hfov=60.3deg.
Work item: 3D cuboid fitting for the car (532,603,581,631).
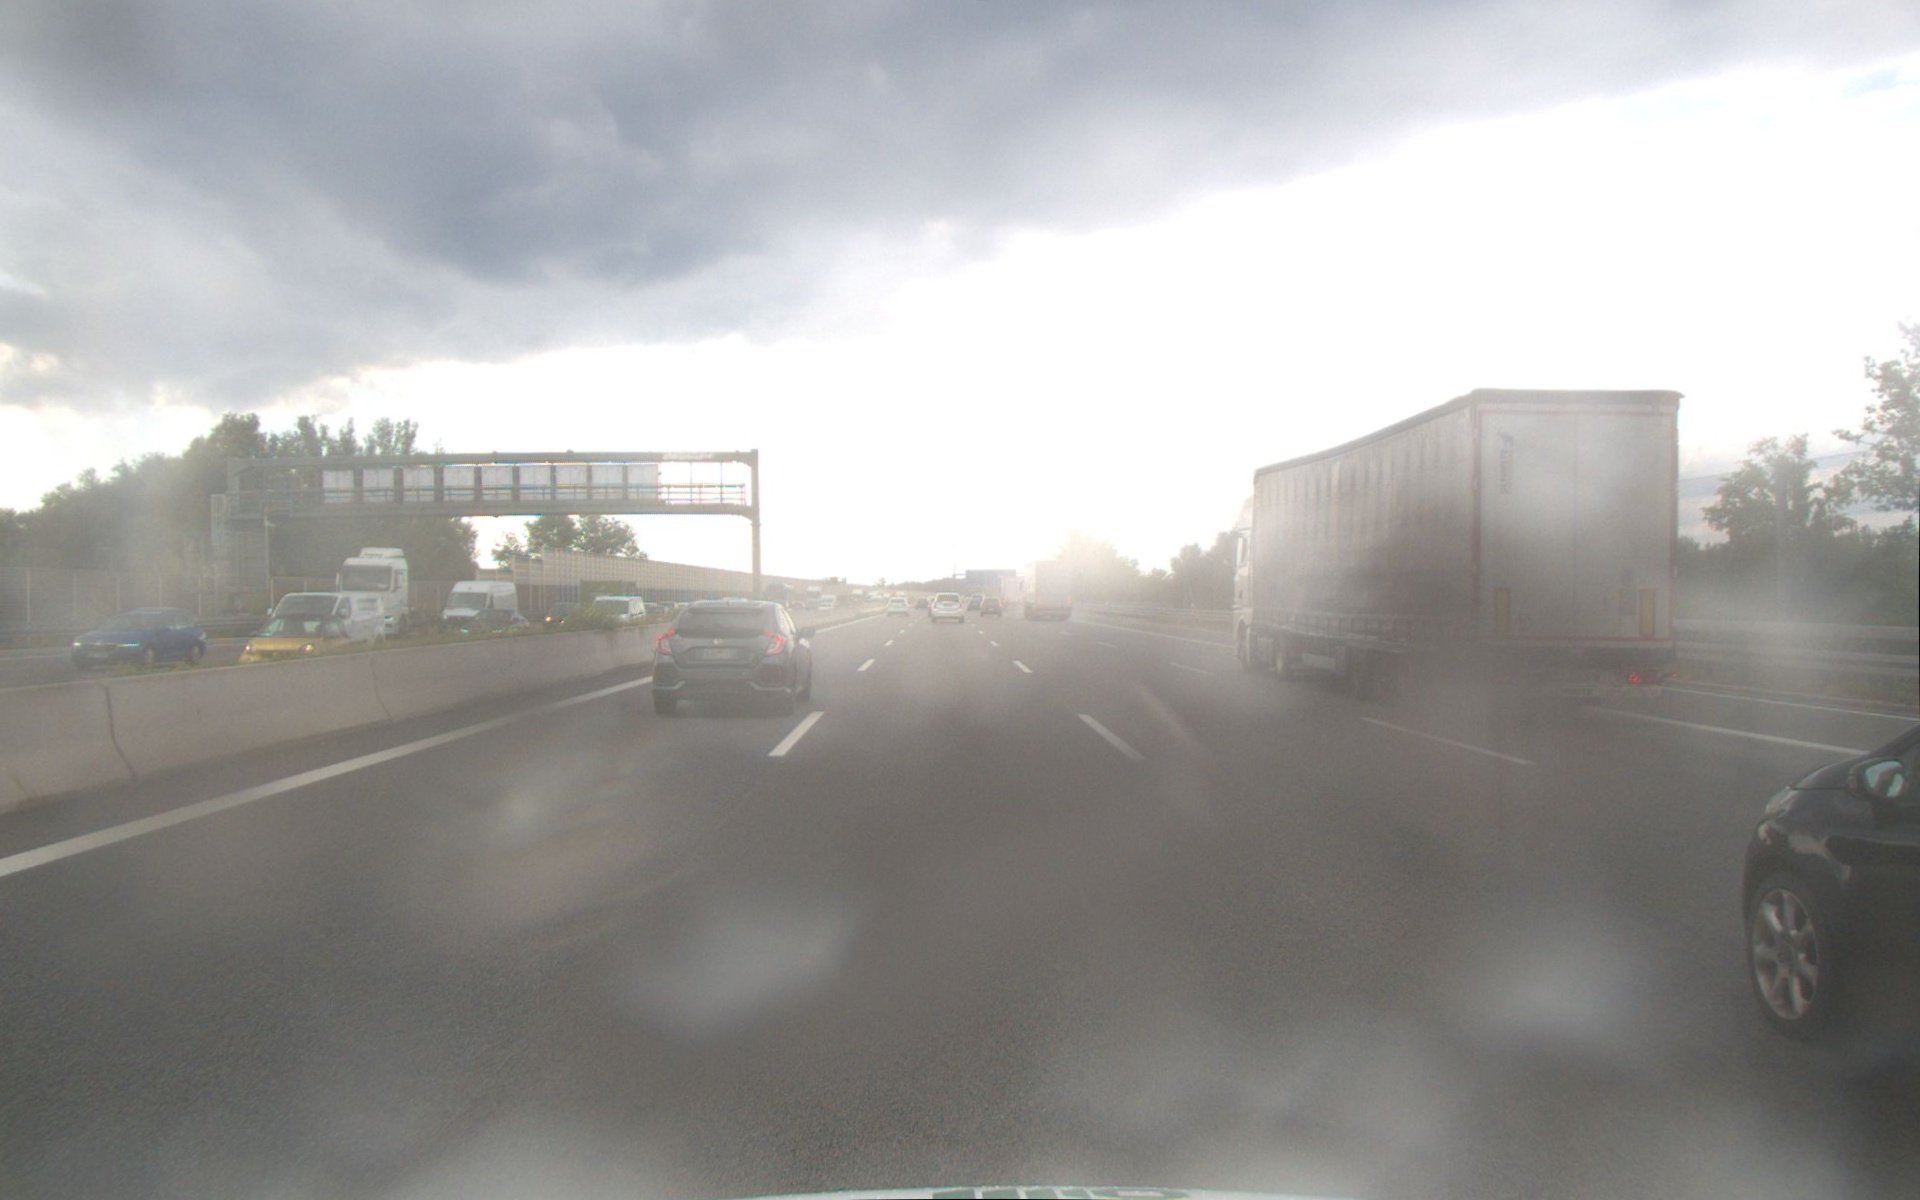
[{"bbox_3d":[-22.573,0.915,92.672,1.779,1.521,3.899,-1,0,0],"label":"car"}]

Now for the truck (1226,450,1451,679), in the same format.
[{"bbox_3d":[7.336,-0.662,33.033,2.901,4.090,6.588,0,0,-1],"label":"truck"}]

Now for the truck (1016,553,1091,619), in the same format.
[{"bbox_3d":[6.425,-0.965,116.509,4.096,4.363,12.608,1,0,-2],"label":"truck"}]

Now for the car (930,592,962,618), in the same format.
[{"bbox_3d":[-0.841,0.300,98.406,1.737,1.466,4.053,0,1,-3],"label":"car"}]

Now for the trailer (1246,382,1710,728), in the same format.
[{"bbox_3d":[7.396,-0.601,26.758,2.901,4.090,14.116,0,1,-1],"label":"trailer"}]

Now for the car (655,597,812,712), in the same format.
[{"bbox_3d":[-3.045,0.677,23.133,1.725,1.393,5.057,0,1,-3],"label":"car"}]

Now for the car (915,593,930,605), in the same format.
[{"bbox_3d":[-4.769,-0.096,210.684,1.737,1.466,4.053,0,1,-3],"label":"car"}]

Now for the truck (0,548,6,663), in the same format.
[{"bbox_3d":[-25.176,0.153,37.428,2.636,2.863,7.833,-1,0,0],"label":"truck"}]

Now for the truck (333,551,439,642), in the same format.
[{"bbox_3d":[-26.000,-0.165,75.177,2.696,3.955,6.050,0,0,0],"label":"truck"}]

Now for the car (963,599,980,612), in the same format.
[{"bbox_3d":[1.317,0.586,193.430,1.798,1.466,4.054,0,0,-1],"label":"car"}]

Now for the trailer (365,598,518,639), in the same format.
[{"bbox_3d":[-26.027,0.839,84.243,2.696,1.860,16.347,-1,0,0],"label":"trailer"}]

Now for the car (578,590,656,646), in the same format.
[{"bbox_3d":[-14.557,0.722,70.526,2.184,2.276,5.512,-1,0,0],"label":"car"}]

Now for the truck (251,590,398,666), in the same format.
[{"bbox_3d":[-18.101,0.750,47.431,2.198,2.035,5.543,-1,0,-2],"label":"truck"}]

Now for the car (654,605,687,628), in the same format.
[{"bbox_3d":[-22.024,1.259,126.158,1.784,1.659,4.525,-1,0,-1],"label":"car"}]

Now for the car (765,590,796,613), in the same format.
[{"bbox_3d":[-14.691,0.111,135.644,1.841,1.775,5.110,-1,0,1],"label":"car"}]

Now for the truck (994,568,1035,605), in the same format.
[{"bbox_3d":[6.456,-1.608,196.738,4.158,4.249,11.986,1,0,-1],"label":"truck"}]

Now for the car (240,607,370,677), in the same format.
[{"bbox_3d":[-14.104,0.871,35.786,1.581,1.412,3.327,0,0,-2],"label":"car"}]

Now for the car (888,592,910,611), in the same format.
[{"bbox_3d":[-4.845,0.092,131.262,1.737,1.466,3.872,0,0,-3],"label":"car"}]

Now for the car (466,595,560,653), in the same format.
[{"bbox_3d":[-17.437,0.913,64.792,2.198,2.151,5.540,-1,0,0],"label":"car"}]

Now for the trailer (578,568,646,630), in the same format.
[{"bbox_3d":[-18.842,-0.061,89.776,2.399,3.193,6.050,-1,0,0],"label":"trailer"}]

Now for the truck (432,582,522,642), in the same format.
[{"bbox_3d":[-22.092,0.532,75.974,2.198,2.649,6.558,-1,0,0],"label":"truck"}]

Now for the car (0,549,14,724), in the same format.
[{"bbox_3d":[-14.073,0.494,20.023,2.093,2.393,5.708,1,0,-2],"label":"car"}]

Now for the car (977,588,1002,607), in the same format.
[{"bbox_3d":[2.403,-0.210,135.480,1.798,1.466,4.054,0,0,-1],"label":"car"}]

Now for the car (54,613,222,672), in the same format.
[{"bbox_3d":[-21.295,1.058,43.111,1.924,1.410,4.944,-1,0,0],"label":"car"}]

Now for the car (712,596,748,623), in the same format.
[{"bbox_3d":[-15.531,0.636,111.834,1.779,1.739,4.806,-1,0,0],"label":"car"}]

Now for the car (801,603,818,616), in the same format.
[{"bbox_3d":[-19.046,1.229,209.912,1.711,1.552,4.927,-1,0,0],"label":"car"}]

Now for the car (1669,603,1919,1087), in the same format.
[{"bbox_3d":[3.637,0.755,5.166,1.418,1.466,3.162,0,0,-2],"label":"car"}]

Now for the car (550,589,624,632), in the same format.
[{"bbox_3d":[-18.793,0.507,83.647,2.399,2.087,6.193,-1,0,0],"label":"car"}]

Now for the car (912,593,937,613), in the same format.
[{"bbox_3d":[-2.728,0.186,126.672,1.737,1.466,4.053,0,1,-3],"label":"car"}]
